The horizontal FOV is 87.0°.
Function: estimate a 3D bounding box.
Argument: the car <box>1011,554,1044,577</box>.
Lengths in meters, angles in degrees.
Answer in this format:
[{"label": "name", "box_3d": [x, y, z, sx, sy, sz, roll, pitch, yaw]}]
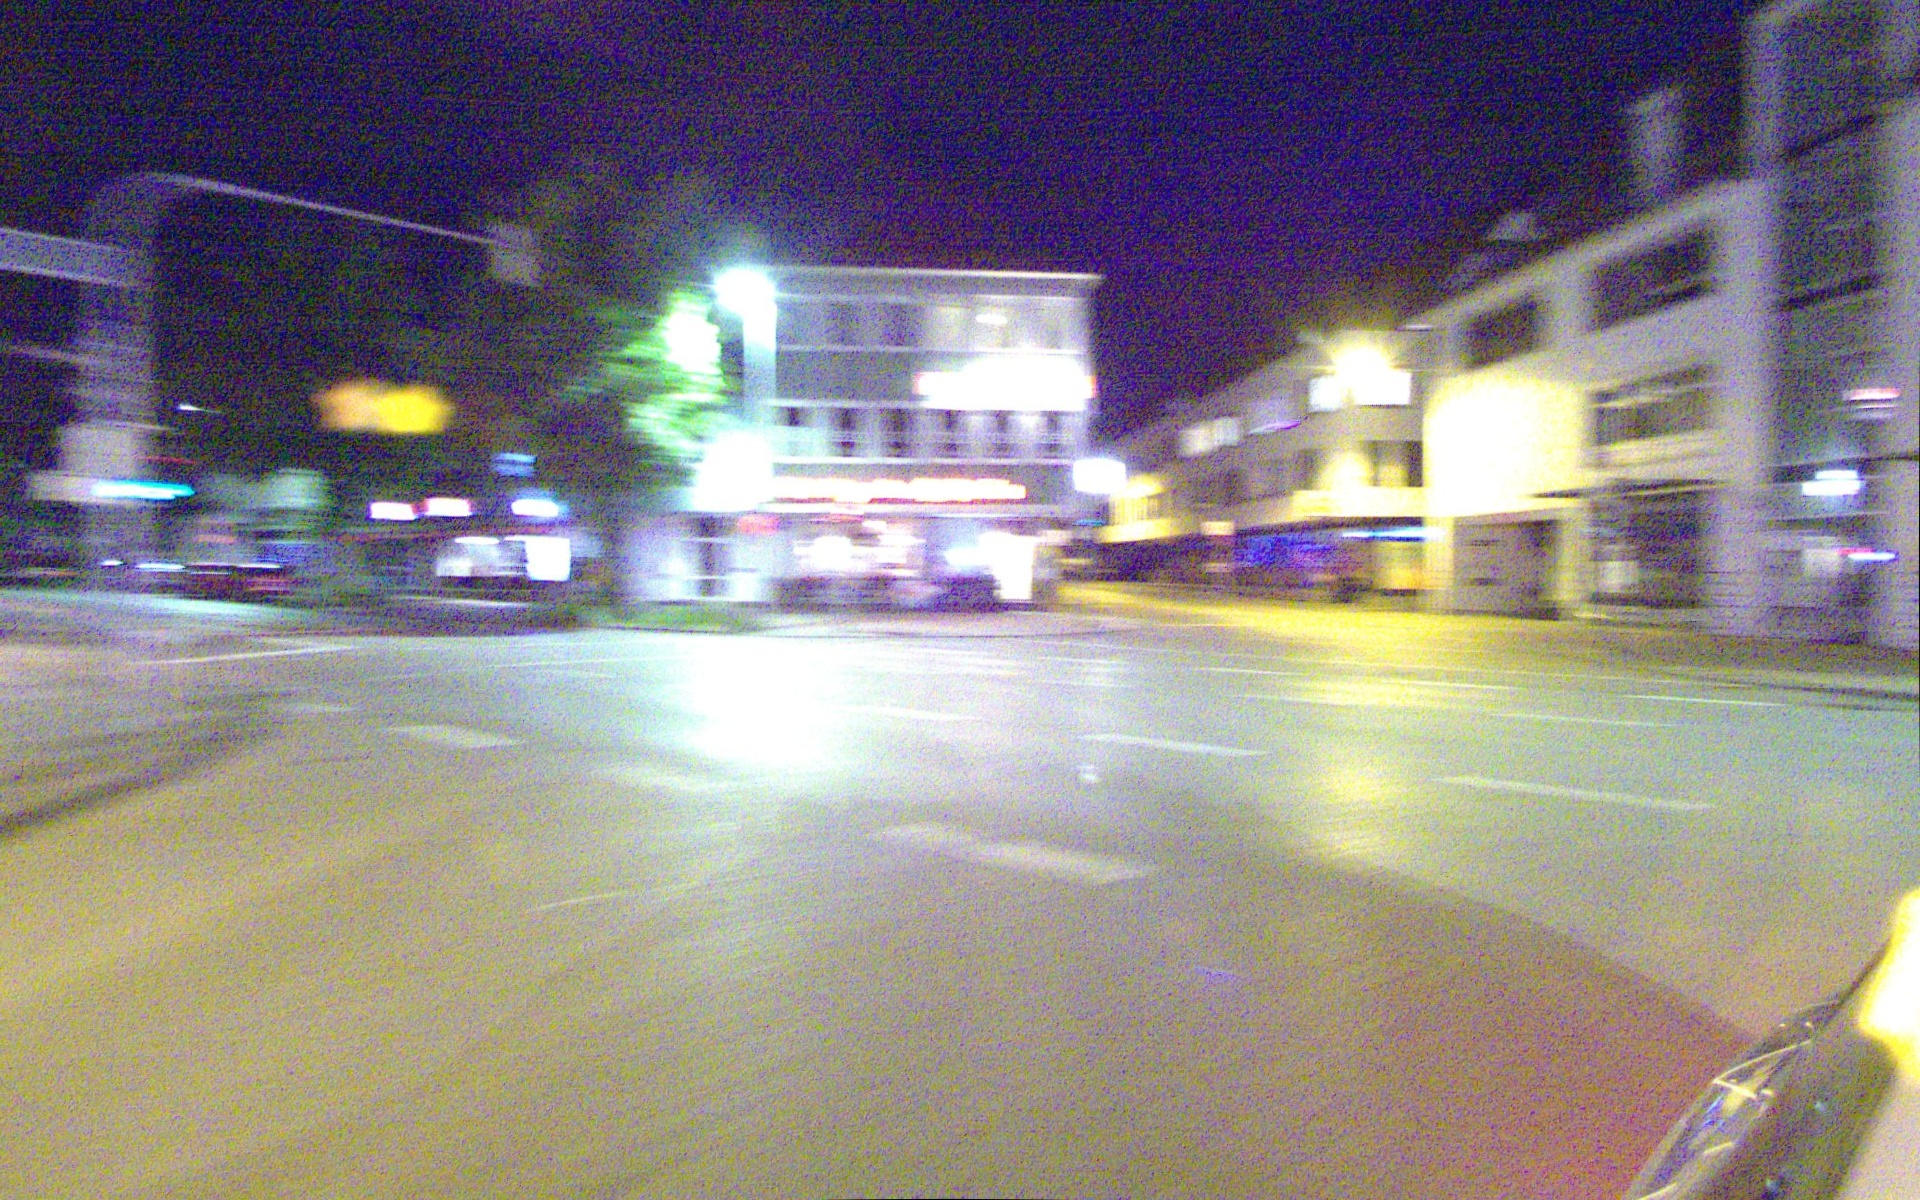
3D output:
[{"label": "car", "box_3d": [5.550, -2.818, 83.204, 1.959, 1.772, 4.006, 1, 1, -7]}]

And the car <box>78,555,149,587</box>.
[{"label": "car", "box_3d": [-41.333, -1.416, 49.408, 3.874, 1.471, 1.869, 2, 1, 38]}]

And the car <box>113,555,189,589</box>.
[{"label": "car", "box_3d": [-37.106, -1.271, 46.410, 3.874, 1.471, 1.869, 2, 1, 38]}]

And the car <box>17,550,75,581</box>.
[{"label": "car", "box_3d": [-51.780, -1.935, 57.329, 3.878, 1.646, 1.983, 2, 1, 41]}]

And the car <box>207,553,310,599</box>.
[{"label": "car", "box_3d": [-27.086, -0.922, 39.058, 3.832, 1.674, 1.854, 2, 1, 31]}]

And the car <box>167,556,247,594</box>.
[{"label": "car", "box_3d": [-31.236, -1.048, 41.956, 3.878, 1.471, 1.867, 2, 1, 41]}]
